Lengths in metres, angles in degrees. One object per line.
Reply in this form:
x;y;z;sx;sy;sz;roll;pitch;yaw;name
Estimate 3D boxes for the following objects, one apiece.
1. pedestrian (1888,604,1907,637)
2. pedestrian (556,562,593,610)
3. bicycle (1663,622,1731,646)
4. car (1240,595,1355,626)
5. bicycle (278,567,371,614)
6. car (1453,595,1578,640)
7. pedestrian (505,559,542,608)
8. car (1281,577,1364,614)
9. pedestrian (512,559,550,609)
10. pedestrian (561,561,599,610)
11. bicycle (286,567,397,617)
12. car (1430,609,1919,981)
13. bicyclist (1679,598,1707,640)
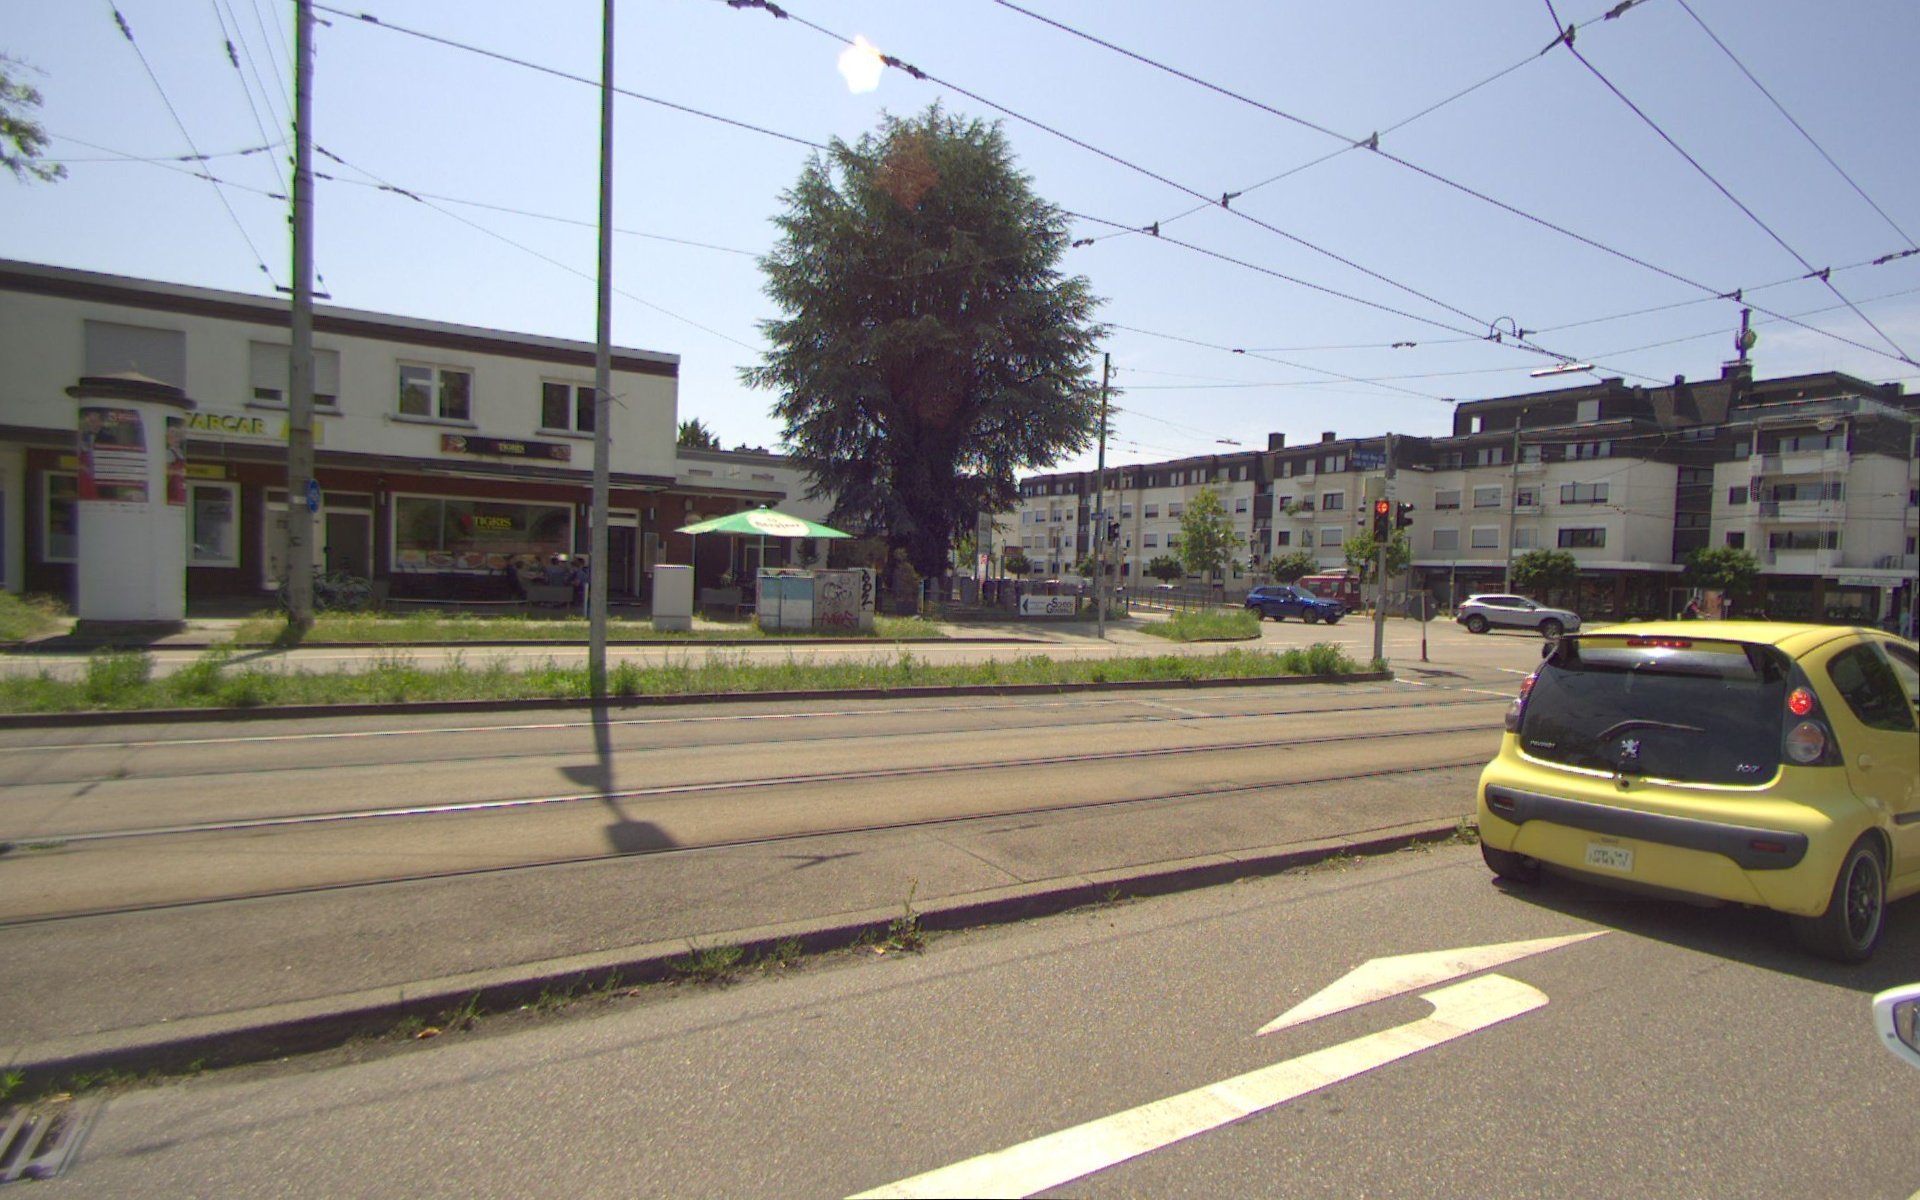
52.530;1.147;56.290;0.598;1.777;0.506;2;0;16;pedestrian
-10.657;-0.383;27.774;0.832;1.285;0.586;2;0;-30;pedestrian
26.894;1.245;36.695;1.953;0.793;0.465;2;0;34;bicycle
15.434;0.471;46.199;1.922;1.253;4.732;2;0;-38;car
-14.407;-0.218;22.823;1.738;0.992;0.536;2;0;-30;bicycle
22.123;0.675;40.086;4.087;1.605;1.932;2;0;38;car
-11.782;-0.433;27.118;0.832;1.285;0.586;2;0;-30;pedestrian
24.730;-0.344;68.705;2.219;2.372;5.038;2;0;-31;car
-11.338;-0.421;26.545;0.832;1.285;0.586;2;0;-30;pedestrian
-10.300;-0.399;27.229;0.832;1.285;0.586;2;0;-30;pedestrian
-13.396;-0.164;21.830;2.006;0.992;0.607;2;0;-30;bicycle
4.394;0.800;5.582;3.254;1.464;1.715;1;0;-31;car
26.815;0.690;36.759;0.739;1.521;0.480;2;0;33;bicyclist
